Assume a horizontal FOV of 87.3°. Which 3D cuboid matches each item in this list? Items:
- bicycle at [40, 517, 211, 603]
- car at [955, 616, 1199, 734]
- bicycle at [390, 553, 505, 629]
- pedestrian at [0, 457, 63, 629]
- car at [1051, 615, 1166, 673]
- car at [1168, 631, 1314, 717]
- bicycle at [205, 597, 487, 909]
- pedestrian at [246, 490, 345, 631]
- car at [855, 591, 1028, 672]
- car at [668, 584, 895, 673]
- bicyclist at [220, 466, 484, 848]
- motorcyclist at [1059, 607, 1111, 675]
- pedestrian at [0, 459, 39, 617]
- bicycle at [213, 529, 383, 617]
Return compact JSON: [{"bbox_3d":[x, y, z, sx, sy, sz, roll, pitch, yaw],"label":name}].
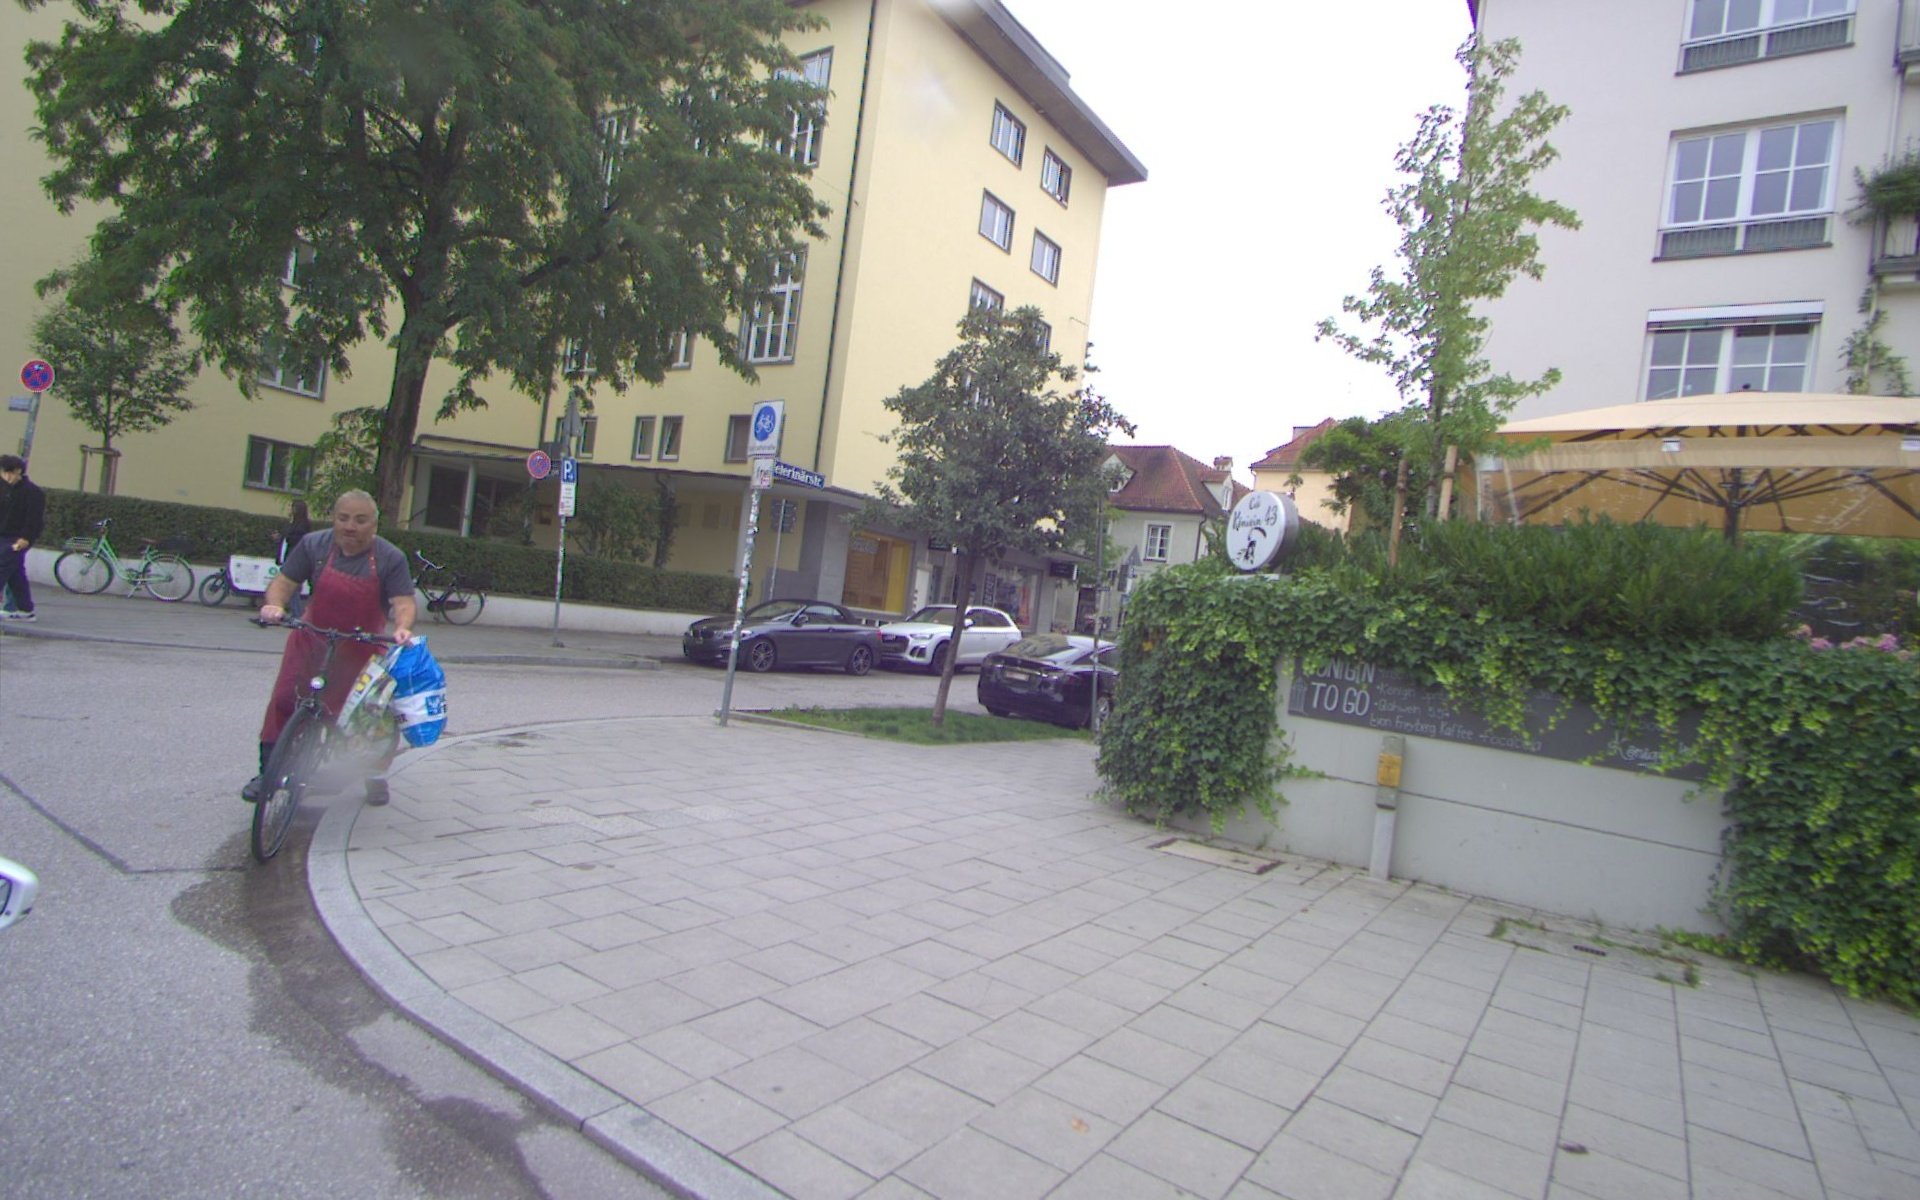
[{"bbox_3d":[-12.620,-0.593,15.261,1.917,1.098,0.528,5,1,-12],"label":"bicycle"},{"bbox_3d":[2.043,1.208,16.206,1.938,1.416,4.493,7,0,34],"label":"car"},{"bbox_3d":[-8.907,-0.133,17.553,0.453,1.144,1.683,8,0,35],"label":"bicycle"},{"bbox_3d":[-10.681,-0.656,11.138,0.986,1.832,0.652,6,1,-43],"label":"pedestrian"},{"bbox_3d":[4.684,1.397,31.336,1.798,1.418,3.987,7,0,36],"label":"car"},{"bbox_3d":[6.365,1.678,22.518,1.697,1.549,3.987,7,0,36],"label":"car"},{"bbox_3d":[-2.999,0.616,4.906,0.871,1.032,2.171,7,0,-33],"label":"bicycle"},{"bbox_3d":[-9.444,-0.547,14.304,0.755,1.881,0.850,7,2,35],"label":"pedestrian"},{"bbox_3d":[-0.334,0.780,23.864,1.830,1.683,4.304,4,-1,36],"label":"car"},{"bbox_3d":[-3.337,0.604,19.602,1.638,1.383,4.319,4,-2,37],"label":"car"},{"bbox_3d":[-2.974,0.256,4.930,0.870,1.629,1.040,6,1,-34],"label":"bicyclist"},{"bbox_3d":[2.979,0.980,23.949,0.703,1.520,0.896,8,1,37],"label":"motorcyclist"},{"bbox_3d":[-11.251,-0.751,11.556,0.823,1.768,0.732,6,1,-40],"label":"pedestrian"},{"bbox_3d":[-10.538,-0.410,16.065,2.157,1.129,0.634,7,1,-38],"label":"bicycle"}]
